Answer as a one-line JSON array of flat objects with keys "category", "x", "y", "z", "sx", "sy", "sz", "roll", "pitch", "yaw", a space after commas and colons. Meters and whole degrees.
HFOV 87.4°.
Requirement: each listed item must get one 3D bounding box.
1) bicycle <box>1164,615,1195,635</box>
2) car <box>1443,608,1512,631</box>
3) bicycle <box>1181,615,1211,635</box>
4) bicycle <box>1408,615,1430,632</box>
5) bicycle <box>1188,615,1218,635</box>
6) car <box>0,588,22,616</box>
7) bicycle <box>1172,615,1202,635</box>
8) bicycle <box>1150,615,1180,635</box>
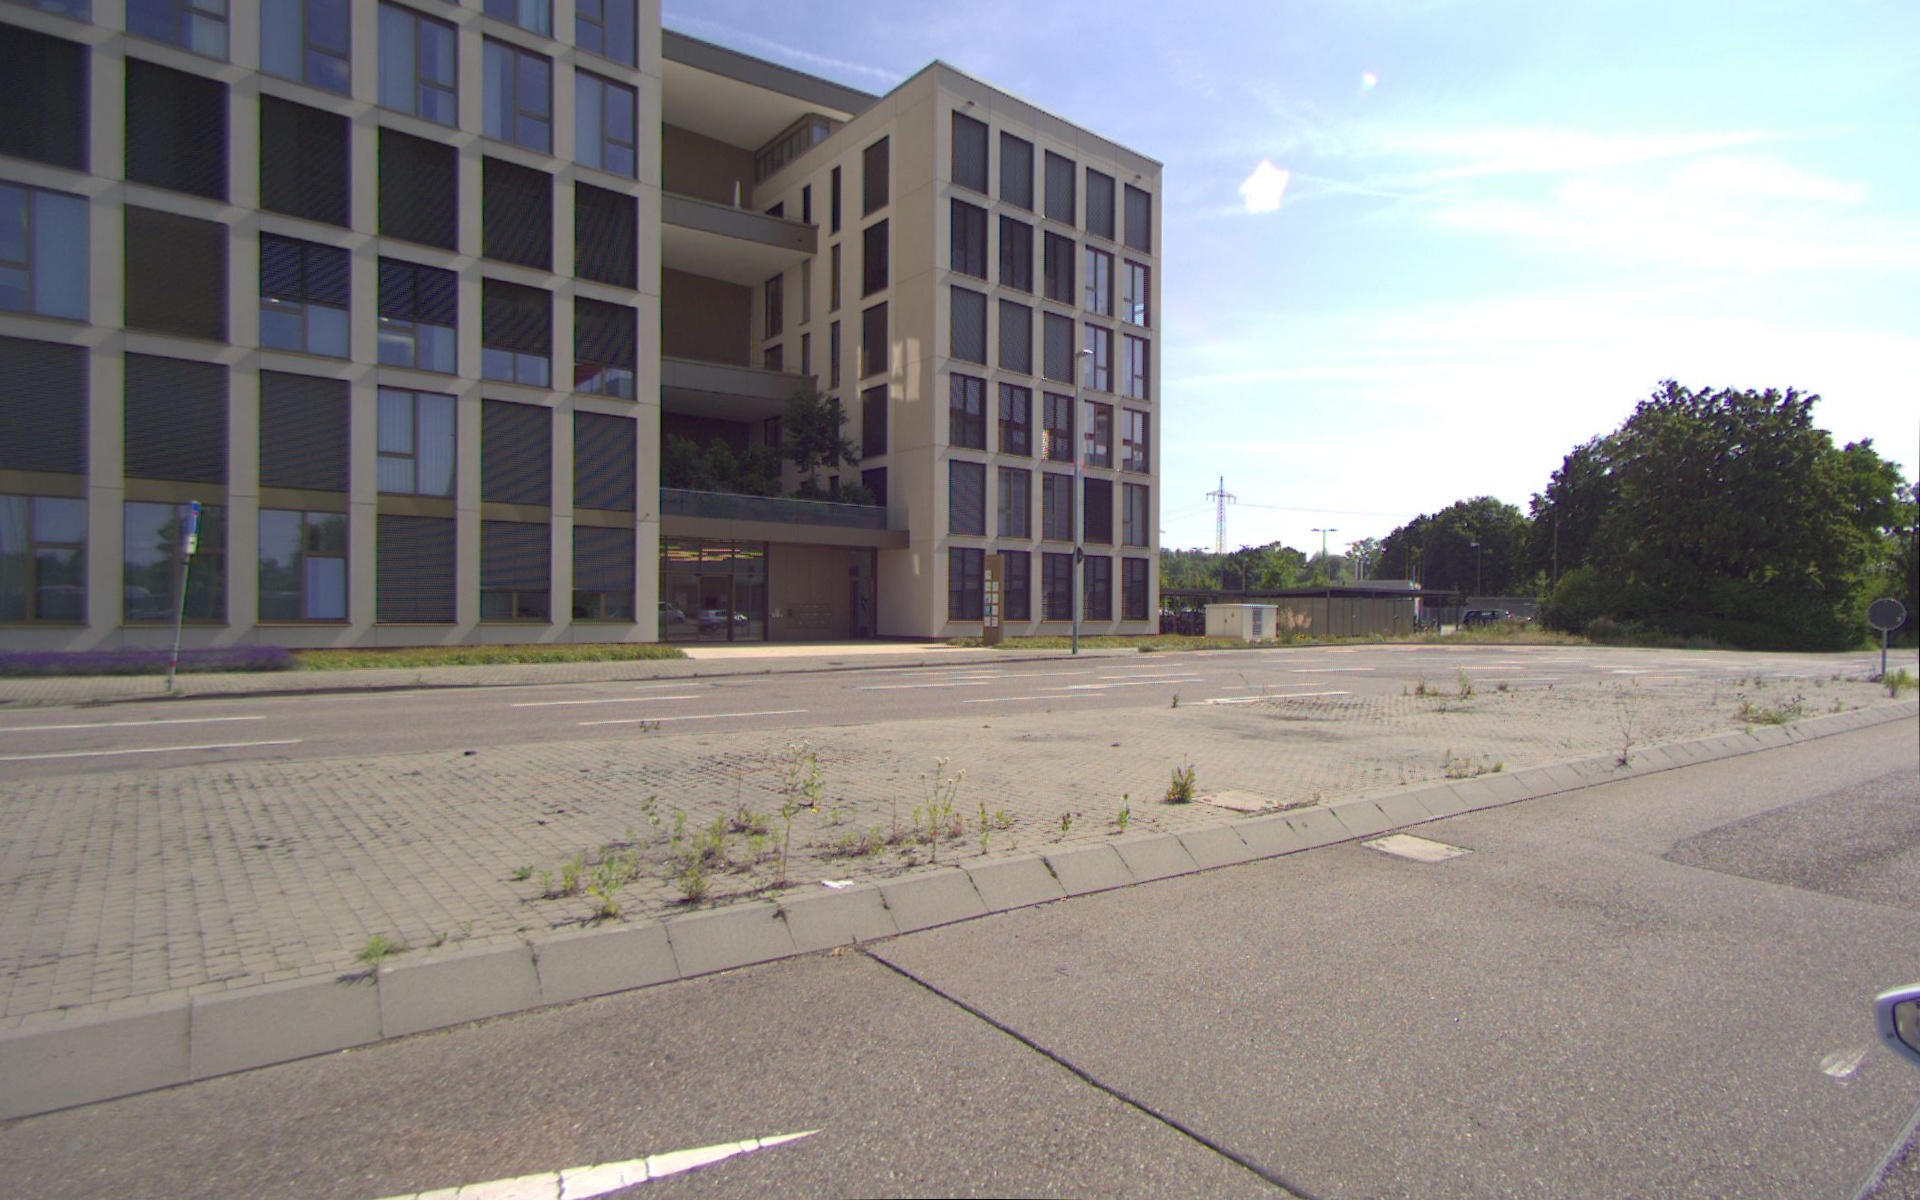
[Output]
[{"category": "bicycle", "x": 12.392, "y": 1.410, "z": 56.701, "sx": 0.583, "sy": 1.106, "sz": 1.690, "roll": 1, "pitch": 0, "yaw": -38}, {"category": "car", "x": 35.384, "y": 1.339, "z": 68.738, "sx": 4.041, "sy": 1.439, "sz": 1.724, "roll": 1, "pitch": -1, "yaw": 32}, {"category": "bicycle", "x": 13.512, "y": 1.428, "z": 57.602, "sx": 0.583, "sy": 1.106, "sz": 1.690, "roll": 1, "pitch": 0, "yaw": -38}, {"category": "bicycle", "x": 30.157, "y": 1.517, "z": 66.012, "sx": 1.692, "sy": 1.106, "sz": 0.582, "roll": 1, "pitch": 0, "yaw": -36}, {"category": "bicycle", "x": 14.056, "y": 1.445, "z": 58.019, "sx": 0.583, "sy": 1.106, "sz": 1.690, "roll": 1, "pitch": 0, "yaw": -38}, {"category": "car", "x": -86.943, "y": 0.113, "z": 88.623, "sx": 5.848, "sy": 2.464, "sz": 2.352, "roll": 1, "pitch": -1, "yaw": -36}, {"category": "bicycle", "x": 12.889, "y": 1.414, "z": 57.099, "sx": 0.583, "sy": 1.106, "sz": 1.690, "roll": 1, "pitch": 0, "yaw": -38}, {"category": "bicycle", "x": 11.469, "y": 1.384, "z": 56.203, "sx": 0.583, "sy": 1.106, "sz": 1.690, "roll": 1, "pitch": 0, "yaw": -38}]
